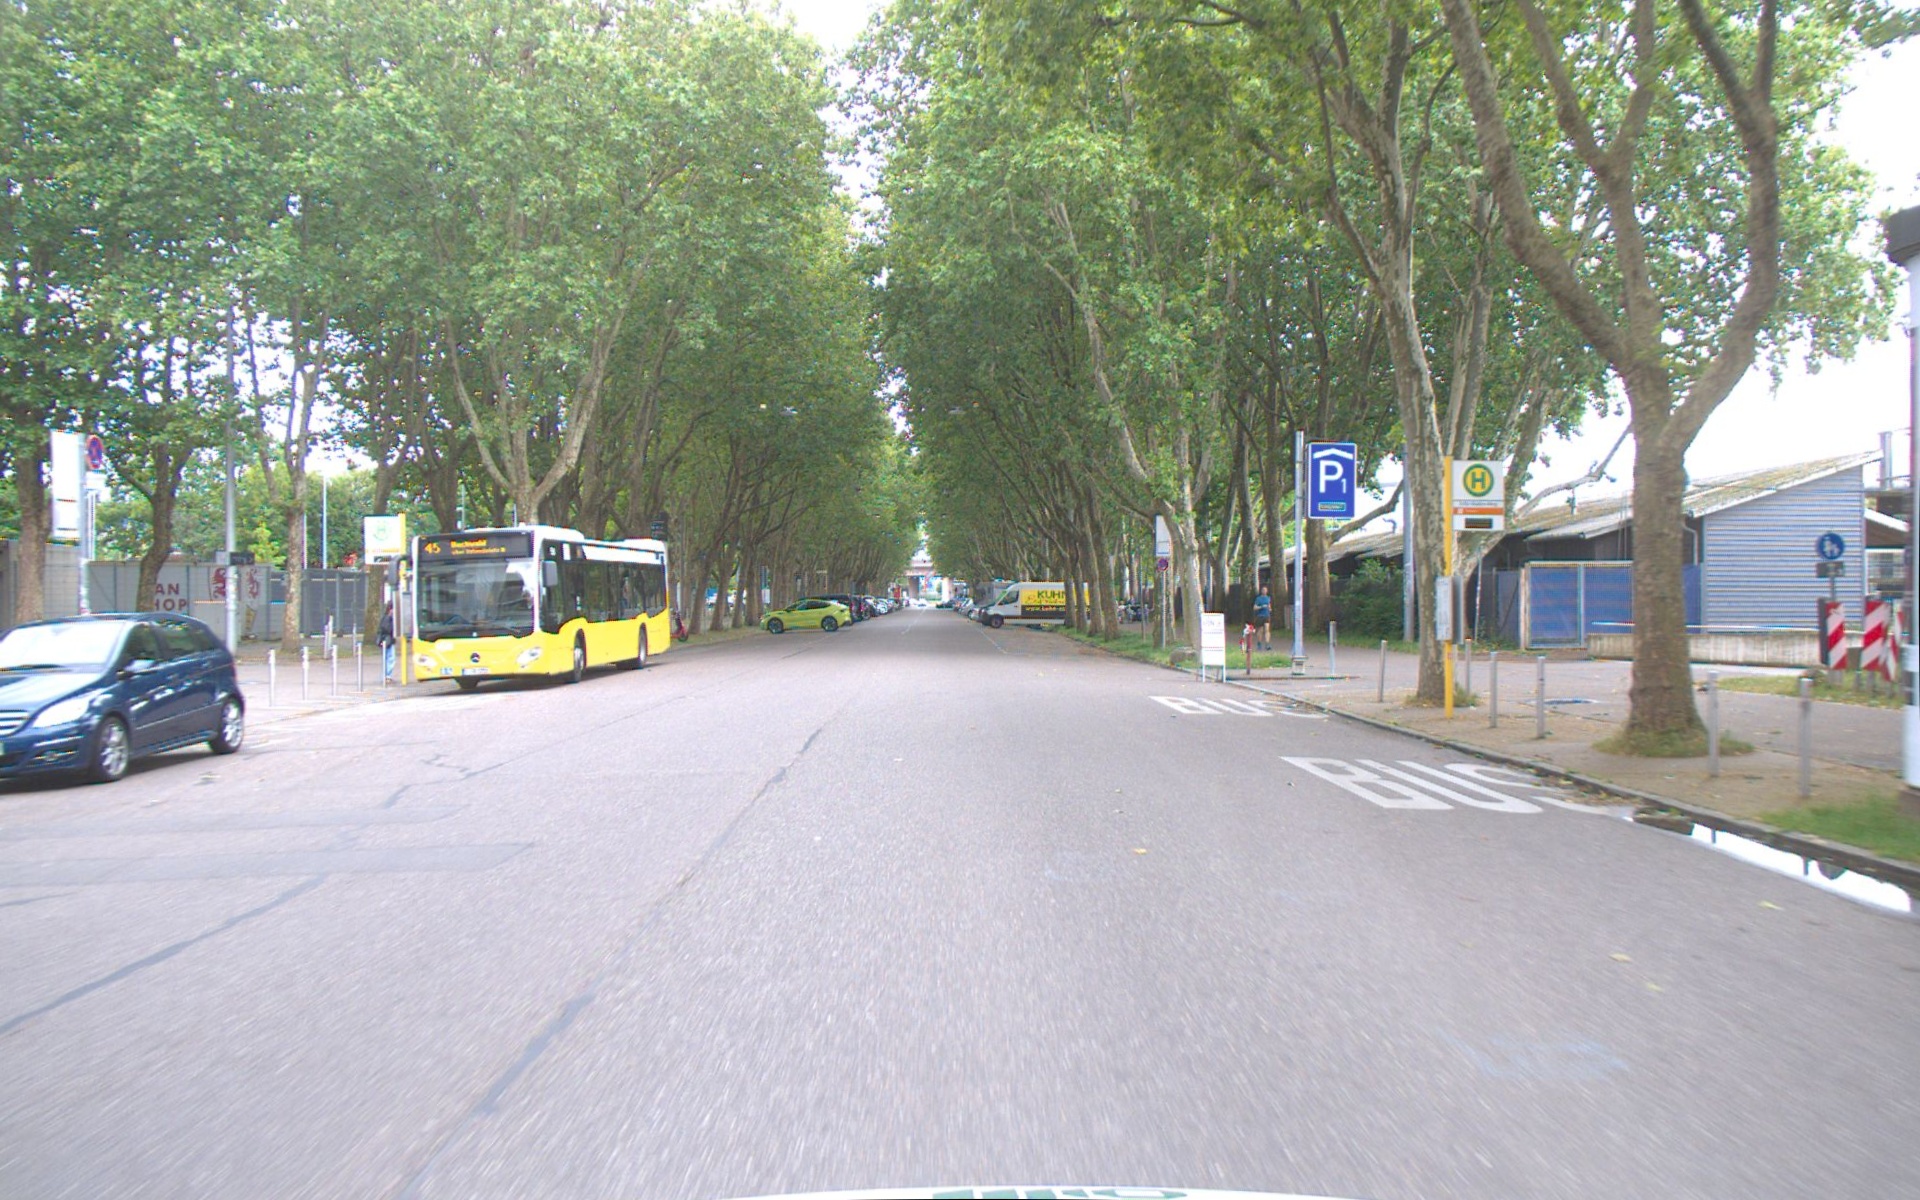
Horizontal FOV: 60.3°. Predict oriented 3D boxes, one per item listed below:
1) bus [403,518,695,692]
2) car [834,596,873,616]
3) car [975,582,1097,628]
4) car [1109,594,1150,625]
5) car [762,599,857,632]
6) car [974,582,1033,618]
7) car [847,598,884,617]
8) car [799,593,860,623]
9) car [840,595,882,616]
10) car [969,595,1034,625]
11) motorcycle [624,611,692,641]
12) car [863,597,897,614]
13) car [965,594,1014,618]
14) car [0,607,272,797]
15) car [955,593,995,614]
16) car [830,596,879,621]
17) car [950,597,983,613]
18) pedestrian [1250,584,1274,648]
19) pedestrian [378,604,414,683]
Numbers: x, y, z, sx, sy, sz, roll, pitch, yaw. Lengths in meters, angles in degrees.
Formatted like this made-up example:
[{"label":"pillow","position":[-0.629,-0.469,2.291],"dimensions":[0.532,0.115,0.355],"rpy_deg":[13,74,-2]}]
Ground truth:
[{"label":"bus","position":[-8.858,0.077,37.906],"dimensions":[2.975,3.215,12.680],"rpy_deg":[-2,0,2]},{"label":"car","position":[-10.837,0.616,168.288],"dimensions":[3.905,2.049,2.000],"rpy_deg":[0,0,-1]},{"label":"car","position":[4.260,0.261,93.567],"dimensions":[6.687,2.557,2.315],"rpy_deg":[0,0,-3]},{"label":"car","position":[9.989,0.546,97.873],"dimensions":[1.953,1.803,3.999],"rpy_deg":[0,0,-1]},{"label":"car","position":[-7.578,0.779,83.360],"dimensions":[4.604,1.612,1.864],"rpy_deg":[0,0,0]},{"label":"car","position":[2.943,-0.024,111.631],"dimensions":[3.906,2.380,1.542],"rpy_deg":[0,0,-2]},{"label":"car","position":[-10.604,0.811,185.620],"dimensions":[3.904,2.049,1.826],"rpy_deg":[0,0,2]},{"label":"car","position":[-8.098,0.479,103.133],"dimensions":[3.705,1.825,1.542],"rpy_deg":[0,0,-2]},{"label":"car","position":[-8.749,0.492,146.326],"dimensions":[3.584,1.772,1.507],"rpy_deg":[0,0,2]},{"label":"car","position":[2.498,0.618,100.981],"dimensions":[3.906,1.825,1.542],"rpy_deg":[0,0,-2]},{"label":"motorcycle","position":[-11.831,1.005,64.822],"dimensions":[2.559,1.143,0.698],"rpy_deg":[0,0,-25]},{"label":"car","position":[-9.512,0.646,197.323],"dimensions":[3.905,2.004,2.000],"rpy_deg":[0,0,-1]},{"label":"car","position":[2.353,0.468,132.210],"dimensions":[3.906,1.825,1.542],"rpy_deg":[0,0,-2]},{"label":"car","position":[-8.881,0.955,16.883],"dimensions":[1.953,1.612,4.113],"rpy_deg":[-3,0,-1]},{"label":"car","position":[1.321,0.299,146.753],"dimensions":[3.548,1.825,1.542],"rpy_deg":[0,0,-2]},{"label":"car","position":[-8.111,0.624,127.194],"dimensions":[3.584,1.896,1.625],"rpy_deg":[0,0,2]},{"label":"car","position":[0.734,0.626,197.302],"dimensions":[3.905,1.894,1.637],"rpy_deg":[0,0,-1]},{"label":"pedestrian","position":[9.196,0.485,50.349],"dimensions":[0.562,1.921,0.615],"rpy_deg":[0,0,-10]},{"label":"pedestrian","position":[-11.856,0.912,34.776],"dimensions":[0.659,1.631,0.606],"rpy_deg":[0,0,-26]}]
